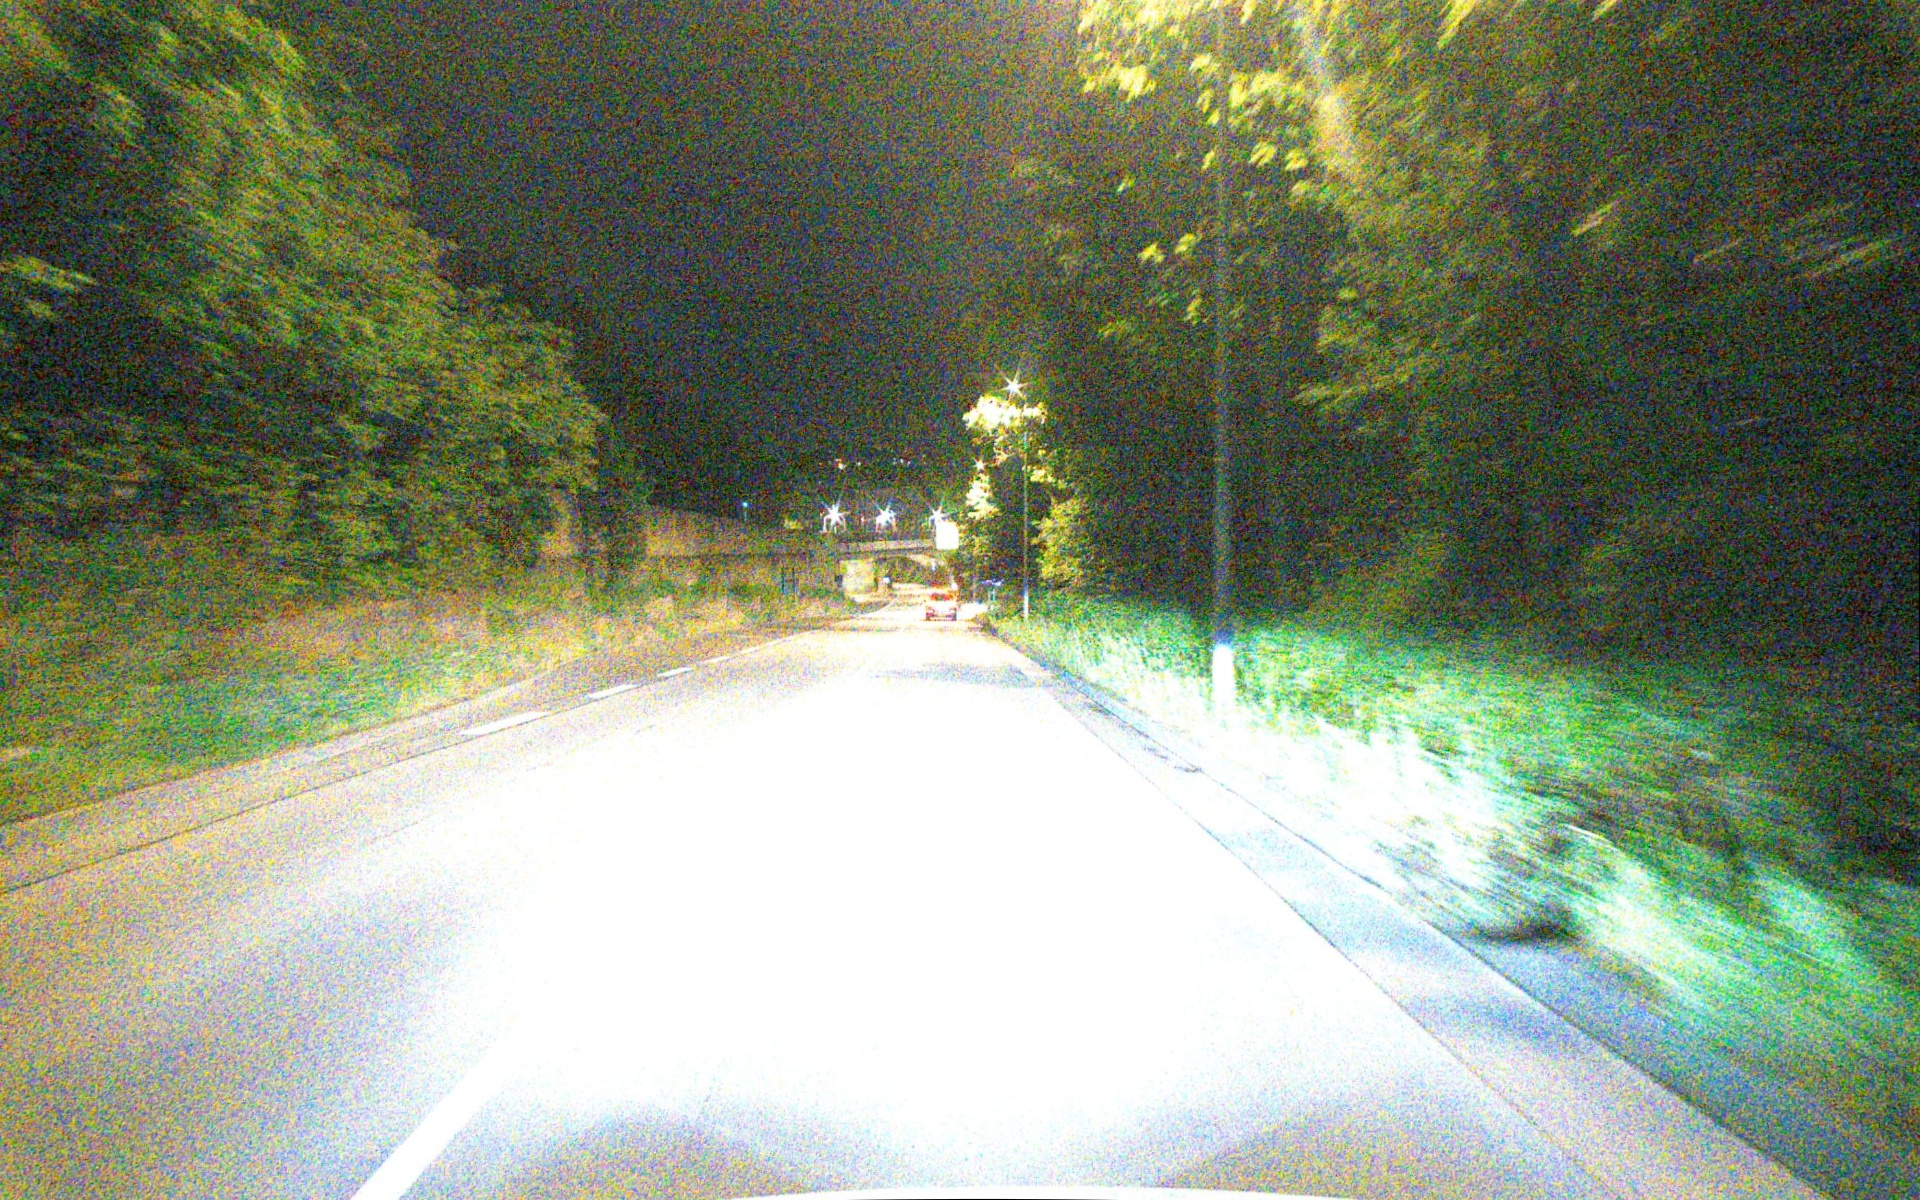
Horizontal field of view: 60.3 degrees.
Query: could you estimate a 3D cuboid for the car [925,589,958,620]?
[{"bbox_3d":[-1.071,0.241,95.818,1.726,1.670,3.724,1,1,2],"label":"car"}]
